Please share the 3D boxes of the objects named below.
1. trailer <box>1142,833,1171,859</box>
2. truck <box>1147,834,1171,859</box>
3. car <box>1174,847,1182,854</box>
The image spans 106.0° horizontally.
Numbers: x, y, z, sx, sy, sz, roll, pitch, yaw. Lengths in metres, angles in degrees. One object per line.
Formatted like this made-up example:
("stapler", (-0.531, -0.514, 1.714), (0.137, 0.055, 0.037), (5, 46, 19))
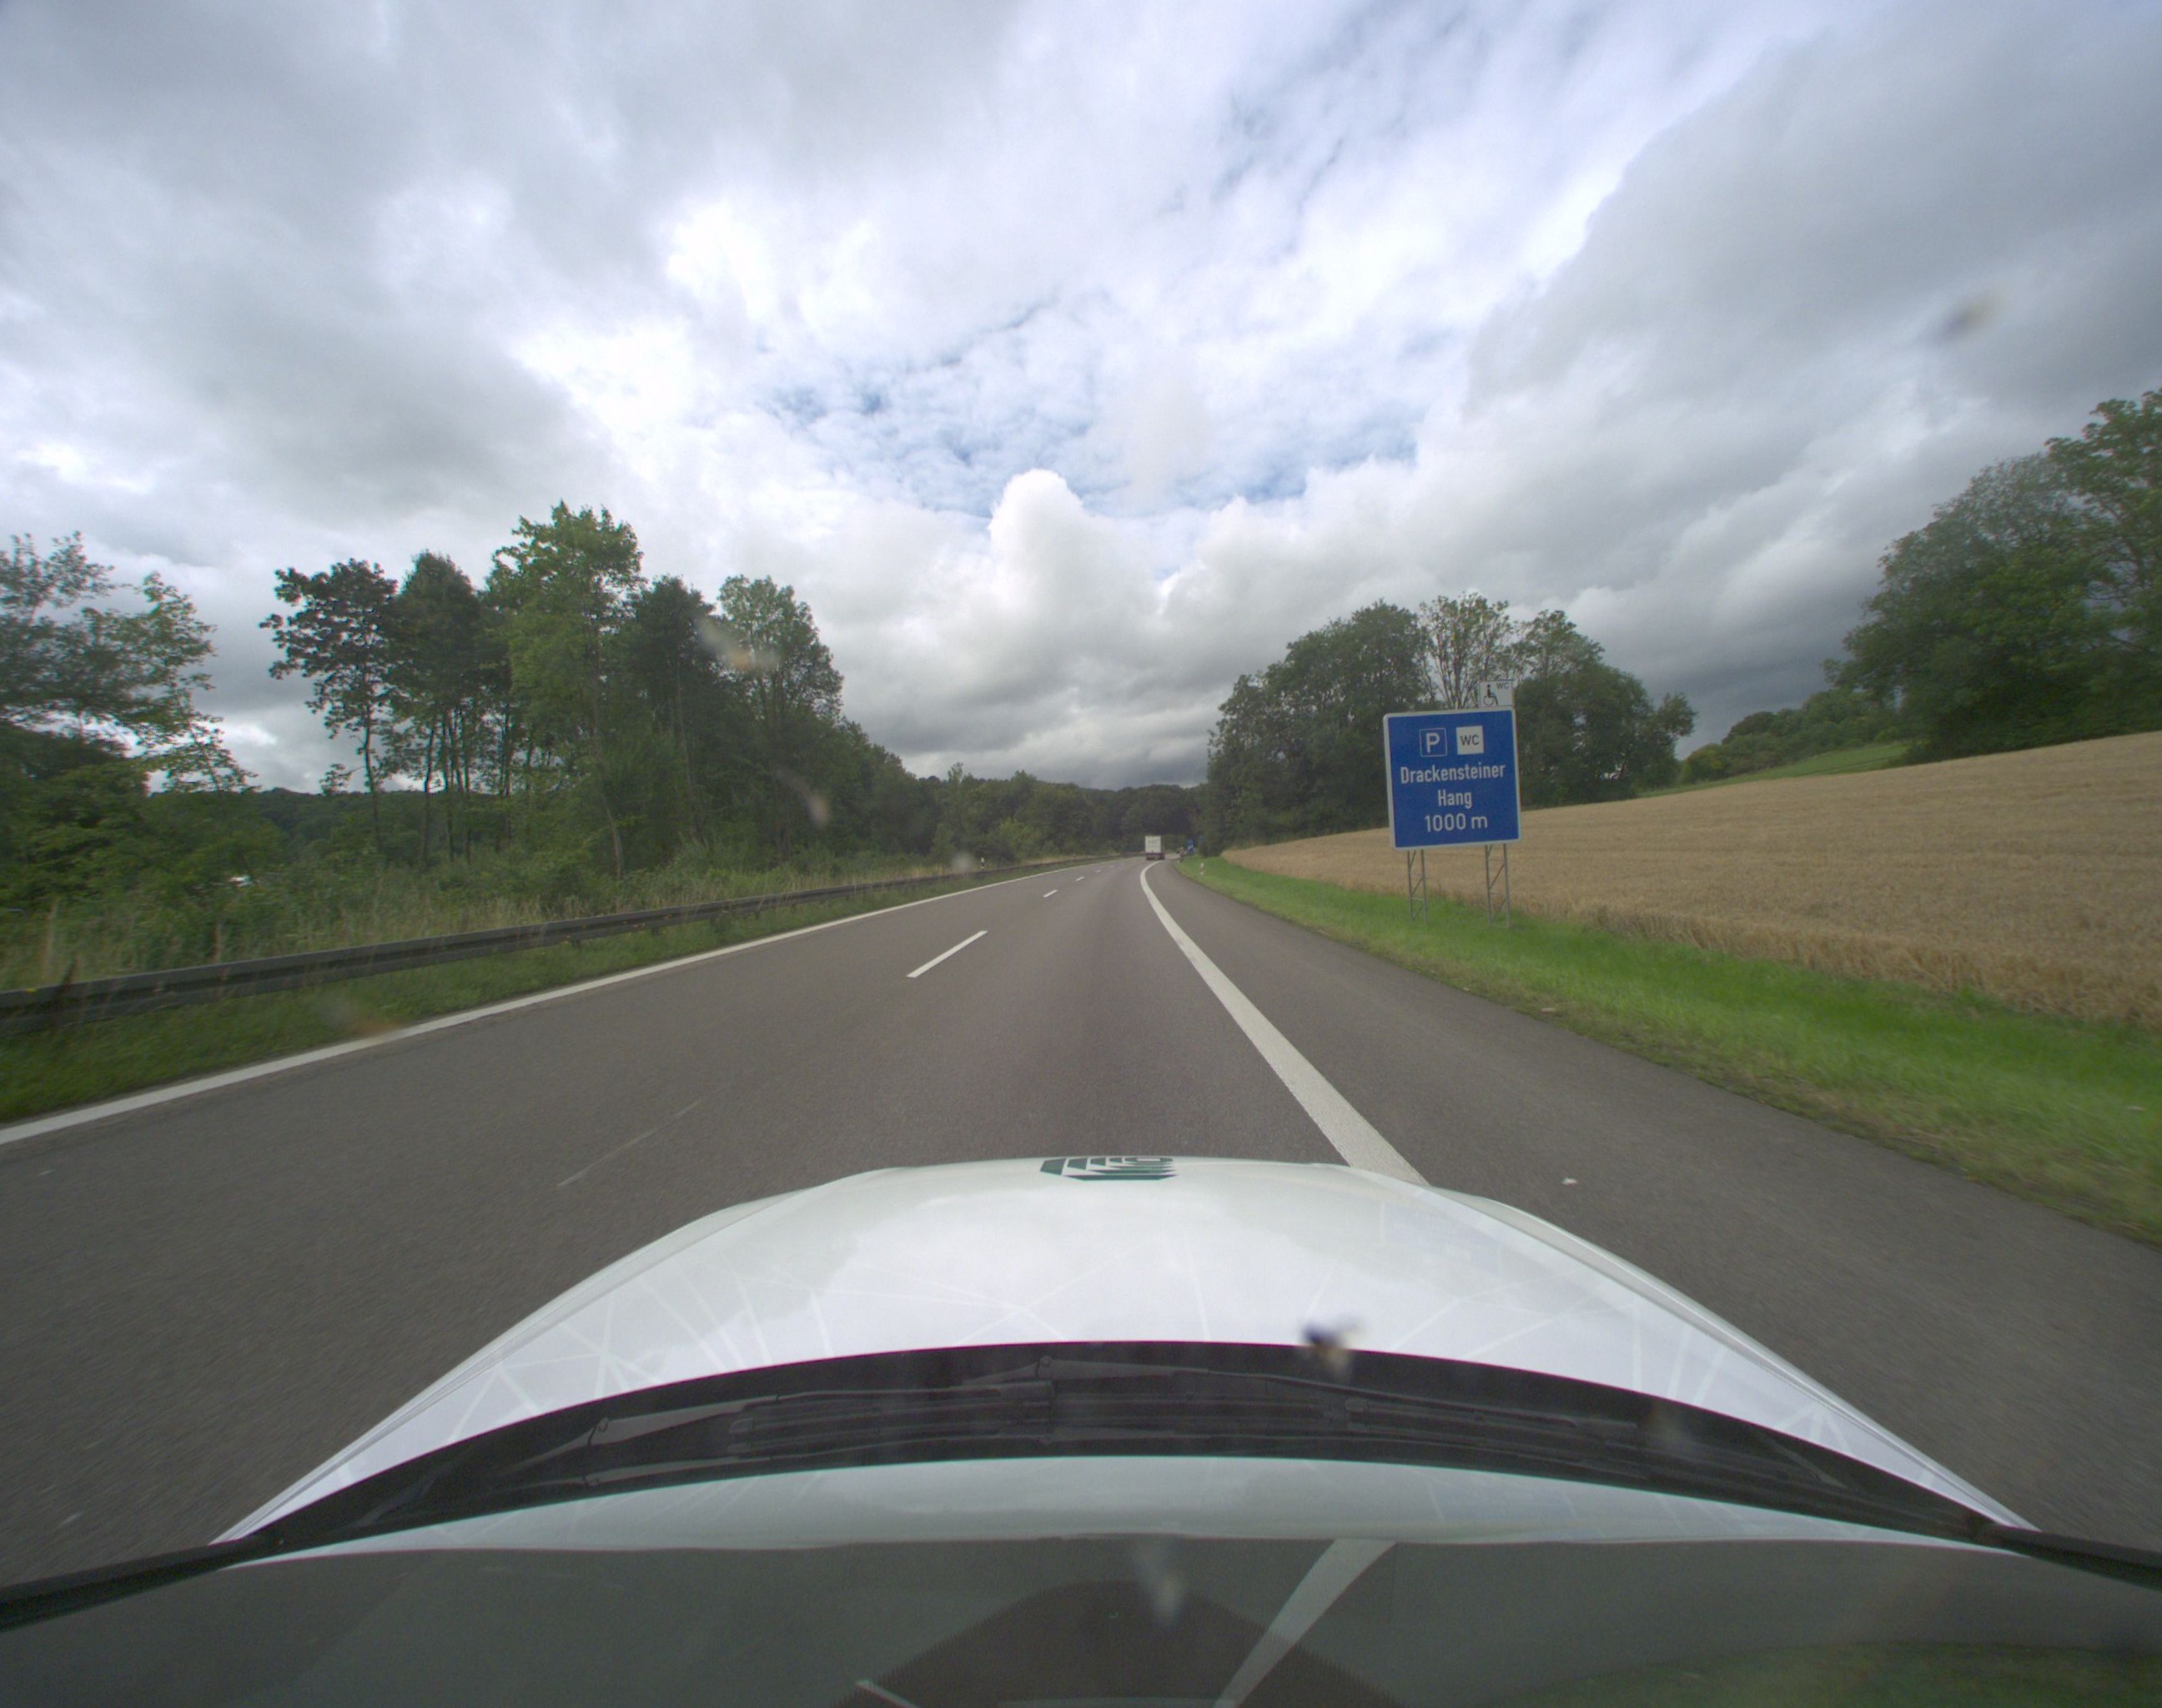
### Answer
("trailer", (12.829, -1.277, 137.136), (3.783, 4.174, 14.844), (-1, 0, 9))
("truck", (13.764, -1.236, 143.141), (3.766, 4.132, 8.285), (-1, 0, 9))
("car", (27.267, -0.952, 229.097), (1.891, 1.795, 4.011), (-1, -1, 10))
